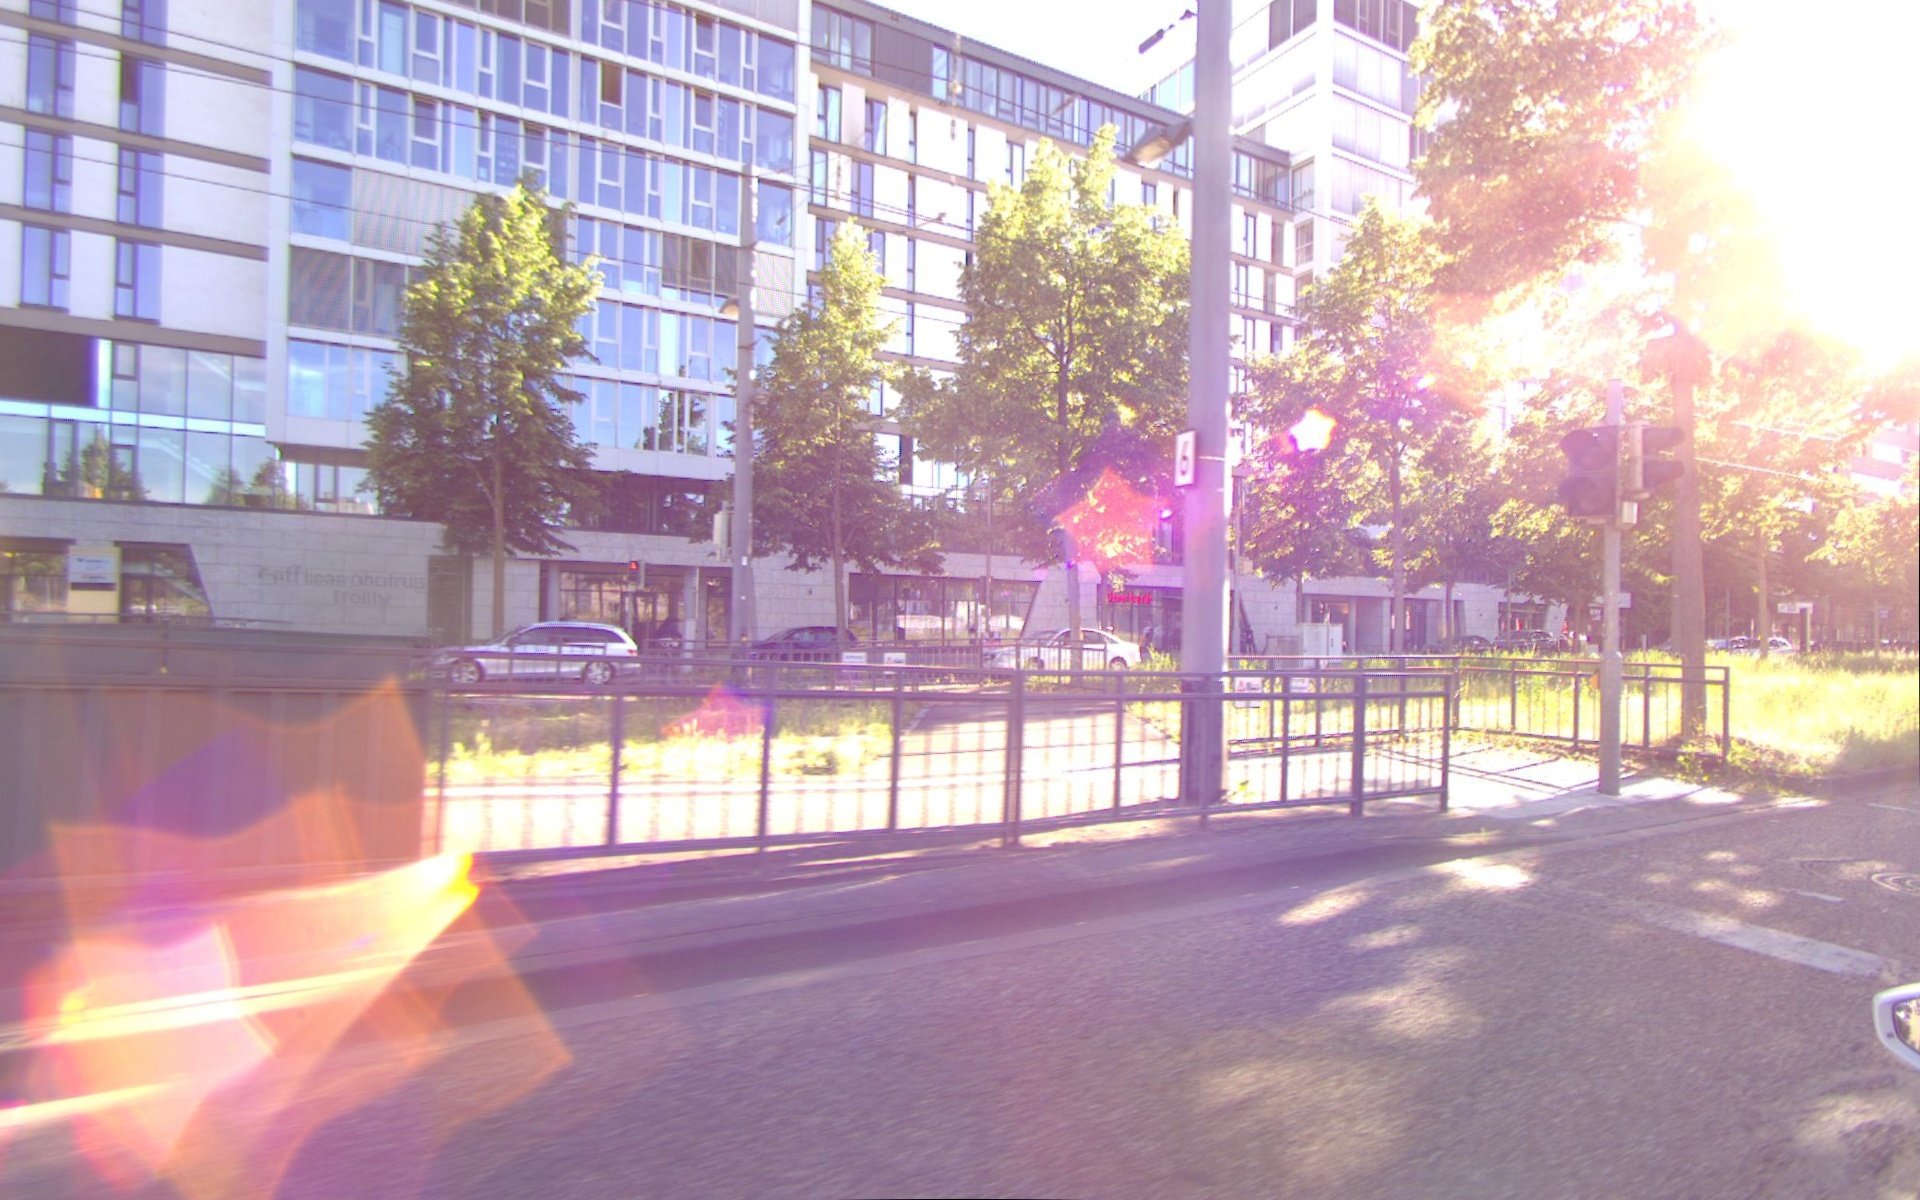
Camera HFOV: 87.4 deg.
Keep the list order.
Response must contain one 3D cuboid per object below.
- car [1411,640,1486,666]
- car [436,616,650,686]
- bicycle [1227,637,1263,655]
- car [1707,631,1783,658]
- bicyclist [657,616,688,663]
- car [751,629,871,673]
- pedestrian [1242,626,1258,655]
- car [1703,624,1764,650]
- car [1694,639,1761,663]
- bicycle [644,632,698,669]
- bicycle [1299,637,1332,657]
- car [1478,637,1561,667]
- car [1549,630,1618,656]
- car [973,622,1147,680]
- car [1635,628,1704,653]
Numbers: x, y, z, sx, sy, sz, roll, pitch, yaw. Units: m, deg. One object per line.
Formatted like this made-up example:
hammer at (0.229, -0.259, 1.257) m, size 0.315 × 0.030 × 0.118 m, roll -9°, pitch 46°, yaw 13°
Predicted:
car at (24.253, 2.605, 49.853) m, size 3.541 × 1.223 × 1.660 m, roll 2°, pitch -1°, yaw -30°
car at (-9.498, 1.179, 22.956) m, size 4.283 × 1.422 × 1.751 m, roll 3°, pitch -2°, yaw -30°
bicycle at (14.807, 2.414, 52.170) m, size 1.991 × 0.892 × 0.539 m, roll 2°, pitch -1°, yaw -30°
car at (38.971, 2.191, 49.855) m, size 3.441 × 1.254 × 1.762 m, roll 1°, pitch -1°, yaw -28°
bicyclist at (-9.239, 1.265, 32.240) m, size 0.821 × 1.483 × 0.717 m, roll 1°, pitch -1°, yaw -27°
car at (-4.797, 1.645, 32.347) m, size 3.425 × 1.251 × 1.642 m, roll 3°, pitch -2°, yaw -30°
pedestrian at (14.912, 2.071, 51.671) m, size 0.682 × 1.431 × 0.406 m, roll 3°, pitch -1°, yaw -30°
car at (56.336, 2.674, 73.148) m, size 5.070 × 1.801 × 1.788 m, roll 1°, pitch 0°, yaw -31°
car at (48.716, 3.229, 63.713) m, size 4.488 × 1.439 × 1.708 m, roll 2°, pitch -2°, yaw -28°
bicycle at (-9.277, 1.606, 32.217) m, size 1.551 × 1.135 × 0.729 m, roll 1°, pitch -1°, yaw -28°
bicycle at (19.540, 2.582, 55.217) m, size 1.960 × 0.985 × 0.539 m, roll 3°, pitch -2°, yaw -30°
car at (29.312, 2.705, 52.587) m, size 4.748 × 1.438 × 1.660 m, roll 2°, pitch -1°, yaw -30°
car at (34.385, 2.368, 55.358) m, size 3.710 × 1.372 × 1.725 m, roll 2°, pitch -1°, yaw -30°
car at (2.719, 1.345, 26.979) m, size 4.456 × 1.422 × 1.809 m, roll 2°, pitch -1°, yaw -30°
car at (42.978, 2.459, 60.819) m, size 4.490 × 1.439 × 1.707 m, roll 2°, pitch -1°, yaw -30°
